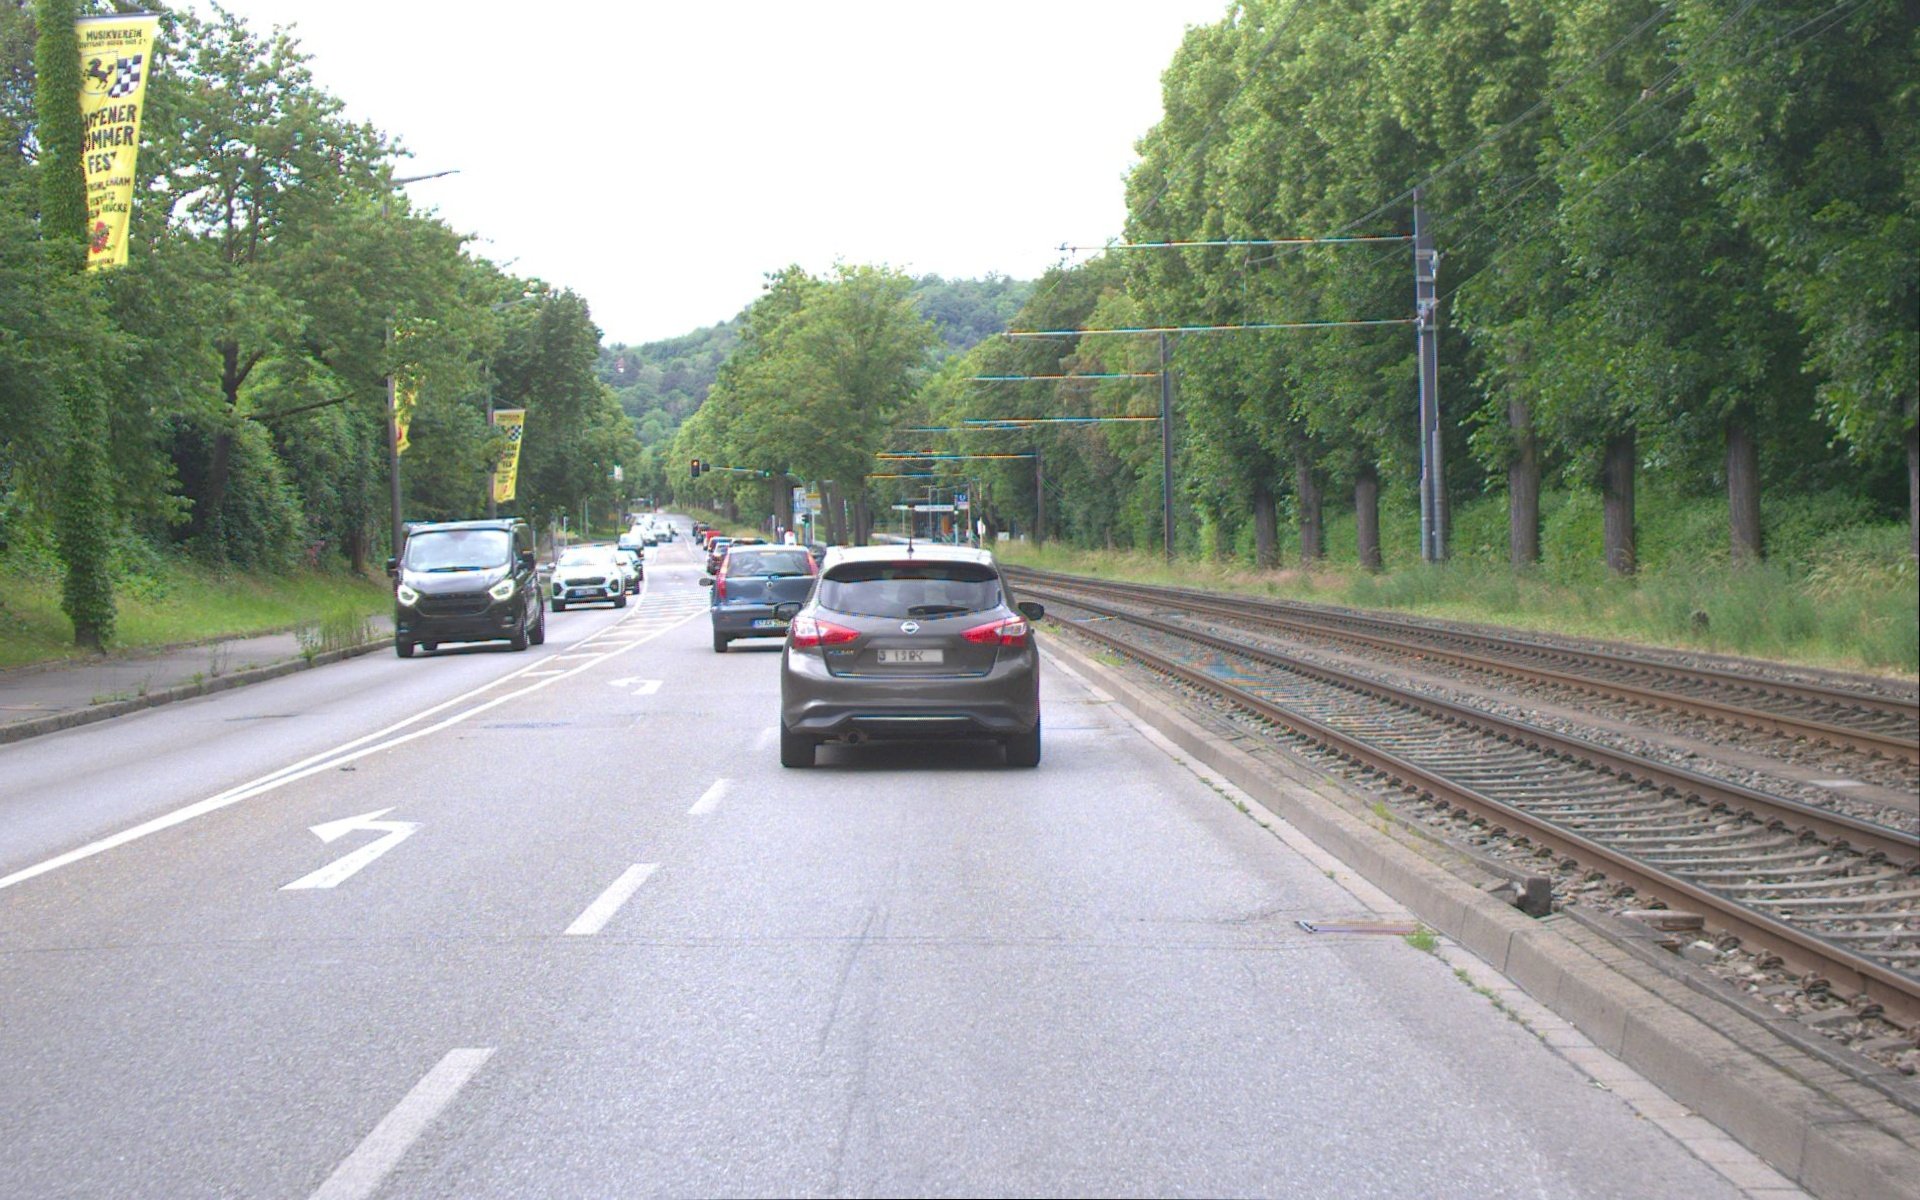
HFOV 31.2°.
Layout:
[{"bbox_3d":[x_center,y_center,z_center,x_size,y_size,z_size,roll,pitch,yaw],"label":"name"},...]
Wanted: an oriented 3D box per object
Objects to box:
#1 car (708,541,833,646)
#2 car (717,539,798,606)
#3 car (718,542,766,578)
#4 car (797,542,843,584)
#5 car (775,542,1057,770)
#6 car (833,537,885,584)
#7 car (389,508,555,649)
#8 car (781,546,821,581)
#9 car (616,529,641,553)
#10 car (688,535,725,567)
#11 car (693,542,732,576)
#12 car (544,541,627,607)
[{"bbox_3d":[-2.683,-0.127,49.108,1.699,1.438,4.001,0,1,-3],"label":"car"},{"bbox_3d":[-4.474,-0.635,76.424,1.699,1.438,4.000,0,1,-2],"label":"car"},{"bbox_3d":[-9.337,-1.721,147.324,1.794,1.505,4.000,0,1,0],"label":"car"},{"bbox_3d":[-5.335,-1.405,131.224,1.715,1.545,4.000,0,0,-2],"label":"car"},{"bbox_3d":[-0.303,0.335,24.580,1.850,1.488,4.000,0,1,0],"label":"car"},{"bbox_3d":[-3.419,-1.315,115.846,1.715,1.545,4.000,0,0,-2],"label":"car"},{"bbox_3d":[-7.611,-0.368,54.074,1.993,2.029,5.116,-3,1,-2],"label":"car"},{"bbox_3d":[-7.116,-1.642,154.009,1.715,1.545,4.000,0,0,-2],"label":"car"},{"bbox_3d":[-24.306,-4.337,252.275,1.715,1.754,4.001,0,0,-4],"label":"car"},{"bbox_3d":[-13.505,-2.631,183.553,1.700,1.708,4.000,0,1,0],"label":"car"},{"bbox_3d":[-12.493,-2.088,173.824,1.700,1.708,4.000,0,1,0],"label":"car"},{"bbox_3d":[-9.809,-0.695,90.306,1.841,1.615,4.160,-2,1,-2],"label":"car"}]
